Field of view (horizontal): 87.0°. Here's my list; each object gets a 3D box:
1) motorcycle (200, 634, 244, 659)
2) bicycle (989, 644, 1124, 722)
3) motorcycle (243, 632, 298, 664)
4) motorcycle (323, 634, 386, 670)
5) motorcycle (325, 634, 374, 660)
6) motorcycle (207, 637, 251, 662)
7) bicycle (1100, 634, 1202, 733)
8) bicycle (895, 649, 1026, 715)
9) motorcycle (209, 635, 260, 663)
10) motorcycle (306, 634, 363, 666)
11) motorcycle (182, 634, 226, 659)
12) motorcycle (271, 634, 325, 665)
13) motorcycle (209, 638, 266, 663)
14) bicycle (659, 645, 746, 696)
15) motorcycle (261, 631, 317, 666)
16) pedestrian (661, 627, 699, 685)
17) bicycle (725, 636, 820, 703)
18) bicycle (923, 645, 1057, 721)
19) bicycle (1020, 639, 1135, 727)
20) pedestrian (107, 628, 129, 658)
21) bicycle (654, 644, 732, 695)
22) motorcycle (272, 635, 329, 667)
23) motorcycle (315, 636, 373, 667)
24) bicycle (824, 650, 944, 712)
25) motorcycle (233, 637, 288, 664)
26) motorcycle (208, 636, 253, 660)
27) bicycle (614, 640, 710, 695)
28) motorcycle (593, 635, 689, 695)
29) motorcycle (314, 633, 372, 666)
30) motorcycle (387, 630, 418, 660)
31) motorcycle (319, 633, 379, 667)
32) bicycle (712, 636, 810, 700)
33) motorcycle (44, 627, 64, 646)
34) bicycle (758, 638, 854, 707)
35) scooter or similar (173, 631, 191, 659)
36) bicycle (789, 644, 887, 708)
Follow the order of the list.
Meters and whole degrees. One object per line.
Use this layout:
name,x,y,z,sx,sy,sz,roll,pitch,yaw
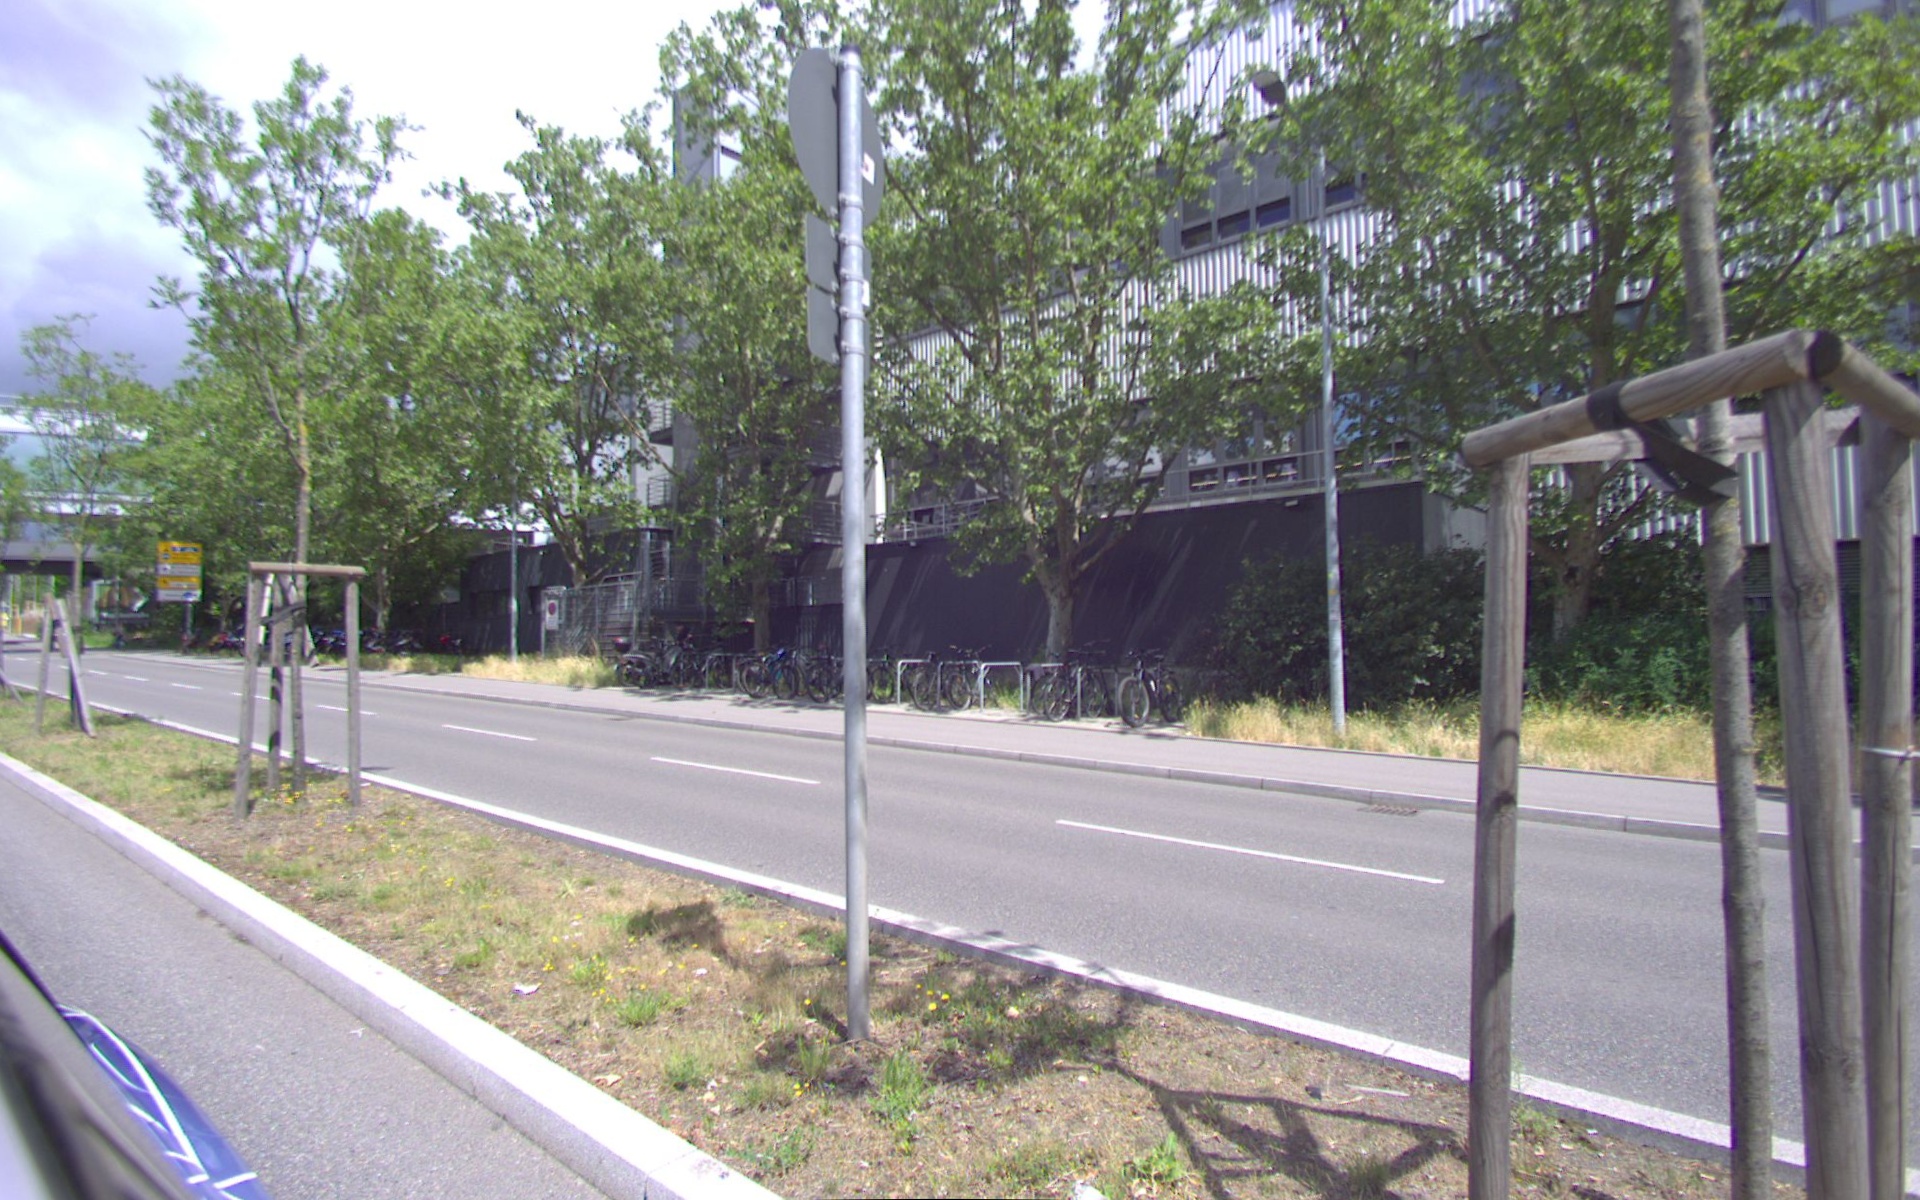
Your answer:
motorcycle,-36.842,2.303,50.521,0.773,1.131,1.579,-3,-1,30
bicycle,1.682,1.373,17.246,2.533,1.166,0.727,0,-2,-40
motorcycle,-30.867,2.148,45.327,1.905,1.300,0.895,-2,-1,-30
motorcycle,-22.256,1.895,37.214,1.855,1.182,0.746,-2,-1,-41
motorcycle,-29.447,2.255,48.850,1.904,1.124,0.924,-2,-1,-23
motorcycle,-35.916,2.410,49.744,0.776,1.131,1.574,-4,-1,41
bicycle,2.945,1.224,15.447,0.489,1.374,2.144,-2,-2,41
bicycle,0.050,1.444,18.329,2.533,1.104,0.697,2,-3,-40
motorcycle,-34.273,2.298,47.810,0.849,1.188,1.735,-3,-1,28
motorcycle,-25.569,2.041,41.400,0.698,1.188,1.857,-4,-1,43
motorcycle,-38.736,2.358,51.859,1.721,1.180,0.777,-2,-1,-42
motorcycle,-28.002,2.104,42.823,1.853,1.188,0.817,-2,-1,-35
motorcycle,-33.492,2.368,46.957,0.917,1.124,1.919,0,-3,28
bicycle,-5.915,1.599,23.360,0.496,1.070,2.061,-2,-2,38
motorcycle,-29.032,2.092,43.827,1.905,1.354,0.867,-2,-1,-30
pedestrian,-7.730,1.533,27.937,0.744,1.563,0.822,0,-2,-40
bicycle,-3.901,1.426,21.185,0.805,1.292,1.900,-2,-2,38
bicycle,0.559,1.413,17.654,2.533,1.166,0.645,0,-2,-40
bicycle,1.921,1.288,16.236,0.555,1.267,2.379,-2,-2,41
pedestrian,-46.862,2.381,56.333,0.812,1.624,0.760,-1,1,39
bicycle,-6.238,1.609,23.705,0.421,1.083,1.905,-2,-2,38
motorcycle,-27.186,2.109,41.733,1.855,1.188,0.816,-2,-1,-41
motorcycle,-24.174,2.006,39.724,1.853,1.093,0.796,-2,-1,-35
bicycle,-1.423,1.526,19.618,0.848,1.014,2.814,-1,-1,31
motorcycle,-31.986,2.298,46.288,1.904,1.124,0.924,-2,-1,-23
motorcycle,-35.053,2.298,48.644,0.776,1.041,1.574,-4,-1,41
bicycle,-7.024,1.571,23.927,0.805,1.189,2.113,-2,-2,38
motorcycle,-7.619,1.527,24.257,0.805,1.319,2.113,-2,-2,38
motorcycle,-24.787,1.985,40.689,0.655,1.219,1.857,-4,-1,43
motorcycle,-24.342,1.978,44.170,1.983,1.219,0.645,-4,-1,45
motorcycle,-23.508,1.916,38.958,1.855,1.195,0.730,-2,-1,-42
bicycle,-4.359,1.462,22.311,0.805,1.292,2.113,-2,-2,38
motorcycle,-60.565,2.425,67.673,2.255,1.207,0.633,-1,1,39
bicycle,-3.098,1.434,20.545,0.805,1.292,1.900,-1,-1,38
scooter or similar,-37.000,2.138,48.117,1.478,1.245,0.350,0,0,40
bicycle,-2.366,1.457,19.878,0.805,1.131,1.900,-2,-2,38
